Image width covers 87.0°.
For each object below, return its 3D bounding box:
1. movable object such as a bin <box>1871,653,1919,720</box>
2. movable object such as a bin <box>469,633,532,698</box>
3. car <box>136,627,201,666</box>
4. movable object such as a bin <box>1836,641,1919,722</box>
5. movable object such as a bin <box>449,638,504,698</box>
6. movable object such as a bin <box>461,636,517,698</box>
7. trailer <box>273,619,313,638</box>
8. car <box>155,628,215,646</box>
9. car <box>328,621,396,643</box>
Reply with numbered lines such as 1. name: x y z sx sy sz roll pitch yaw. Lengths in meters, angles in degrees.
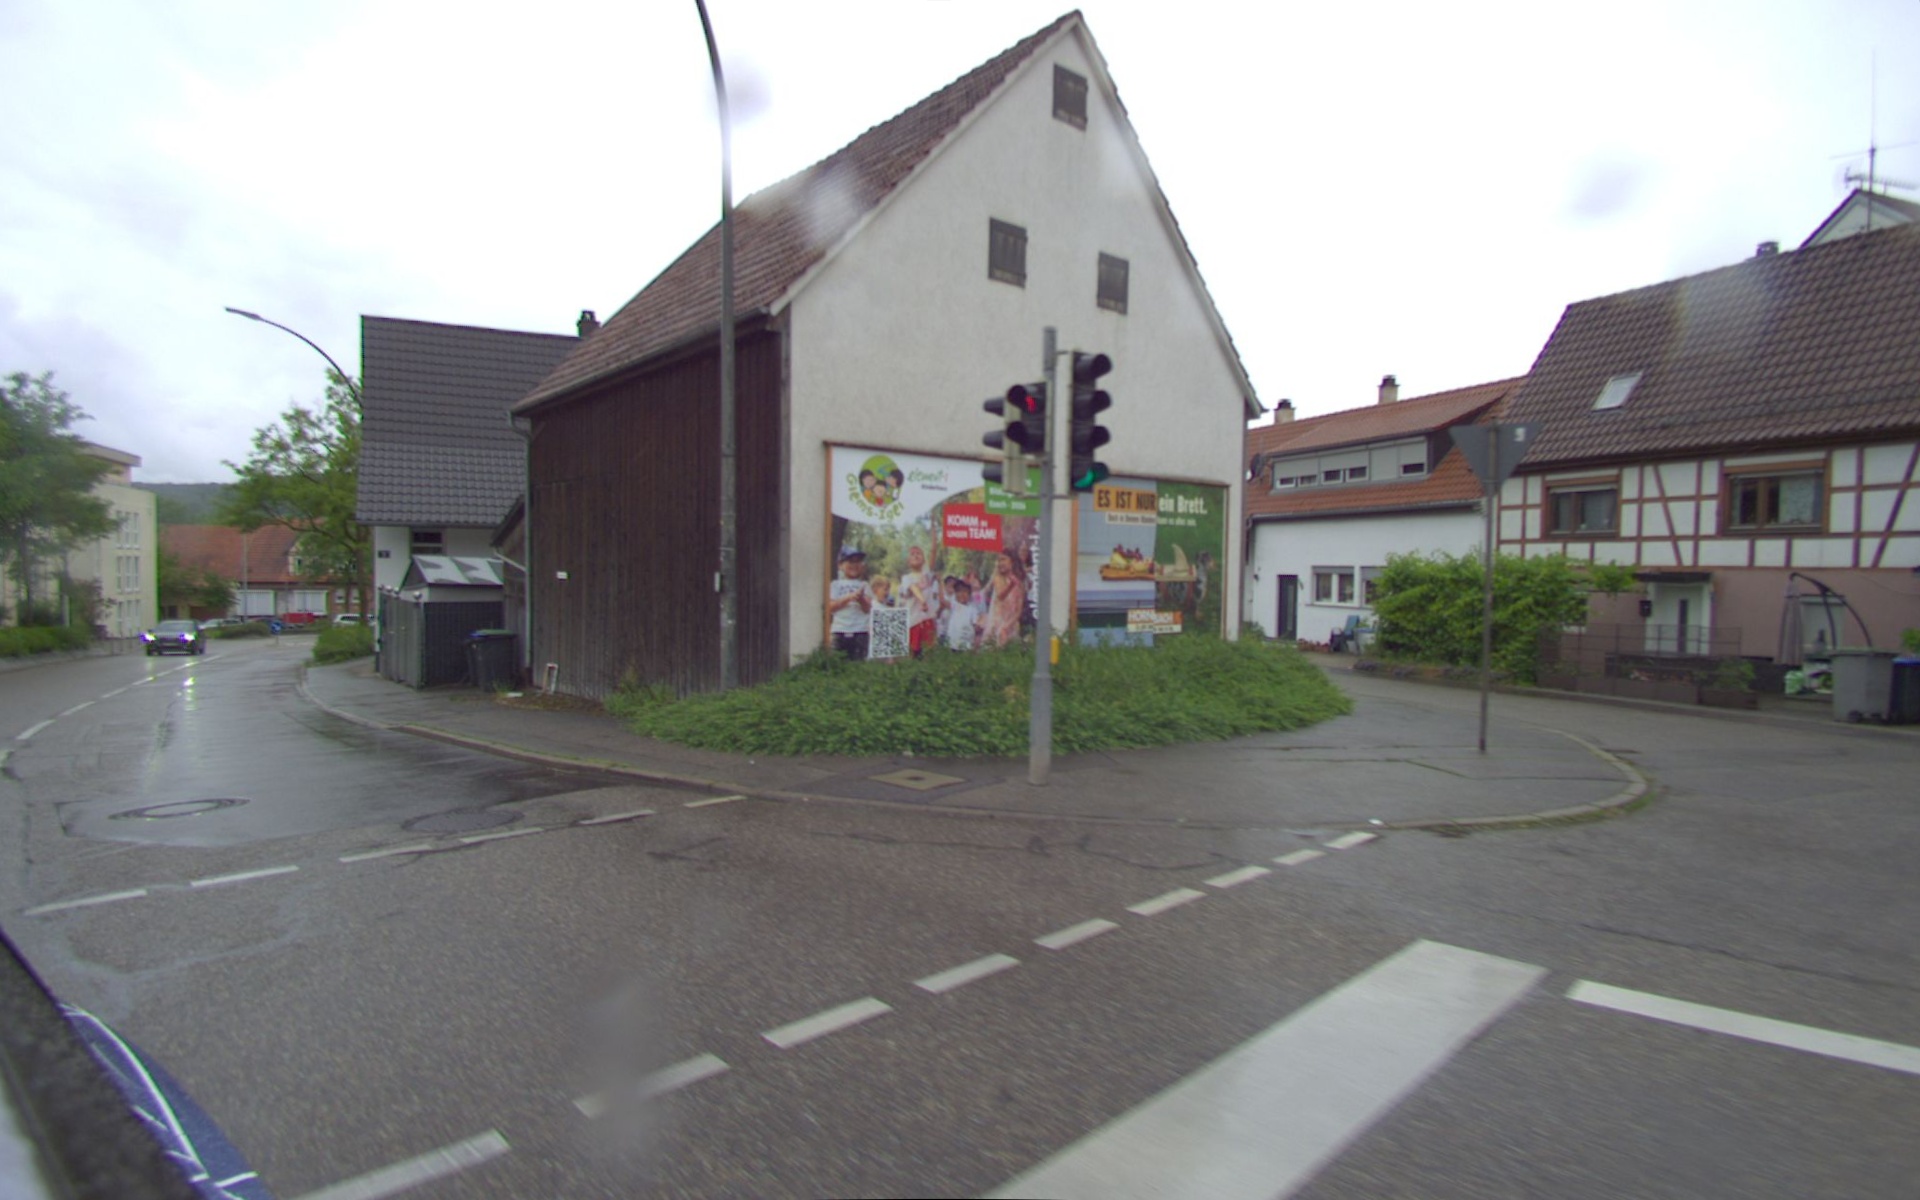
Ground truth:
1. movable object such as a bin: 13.336 1.195 14.109 0.692 0.894 0.653 0 -2 -18
2. movable object such as a bin: -8.227 1.154 18.110 0.886 1.086 0.653 -2 1 -37
3. car: -35.095 2.017 44.953 1.967 1.541 4.011 0 0 -34
4. movable object such as a bin: 12.620 1.105 13.902 0.569 1.054 0.653 0 -2 -18
5. movable object such as a bin: -9.135 1.272 19.124 0.825 1.066 0.613 -1 0 -37
6. movable object such as a bin: -8.675 1.212 18.642 0.806 1.069 0.598 -1 0 -37
7. trailer: -60.651 2.605 92.050 2.683 1.662 1.414 0 -1 -4
8. car: -65.827 3.151 86.004 1.856 1.386 3.994 -1 -1 5
9. car: -43.707 2.310 73.955 4.102 1.547 1.753 -1 0 9
